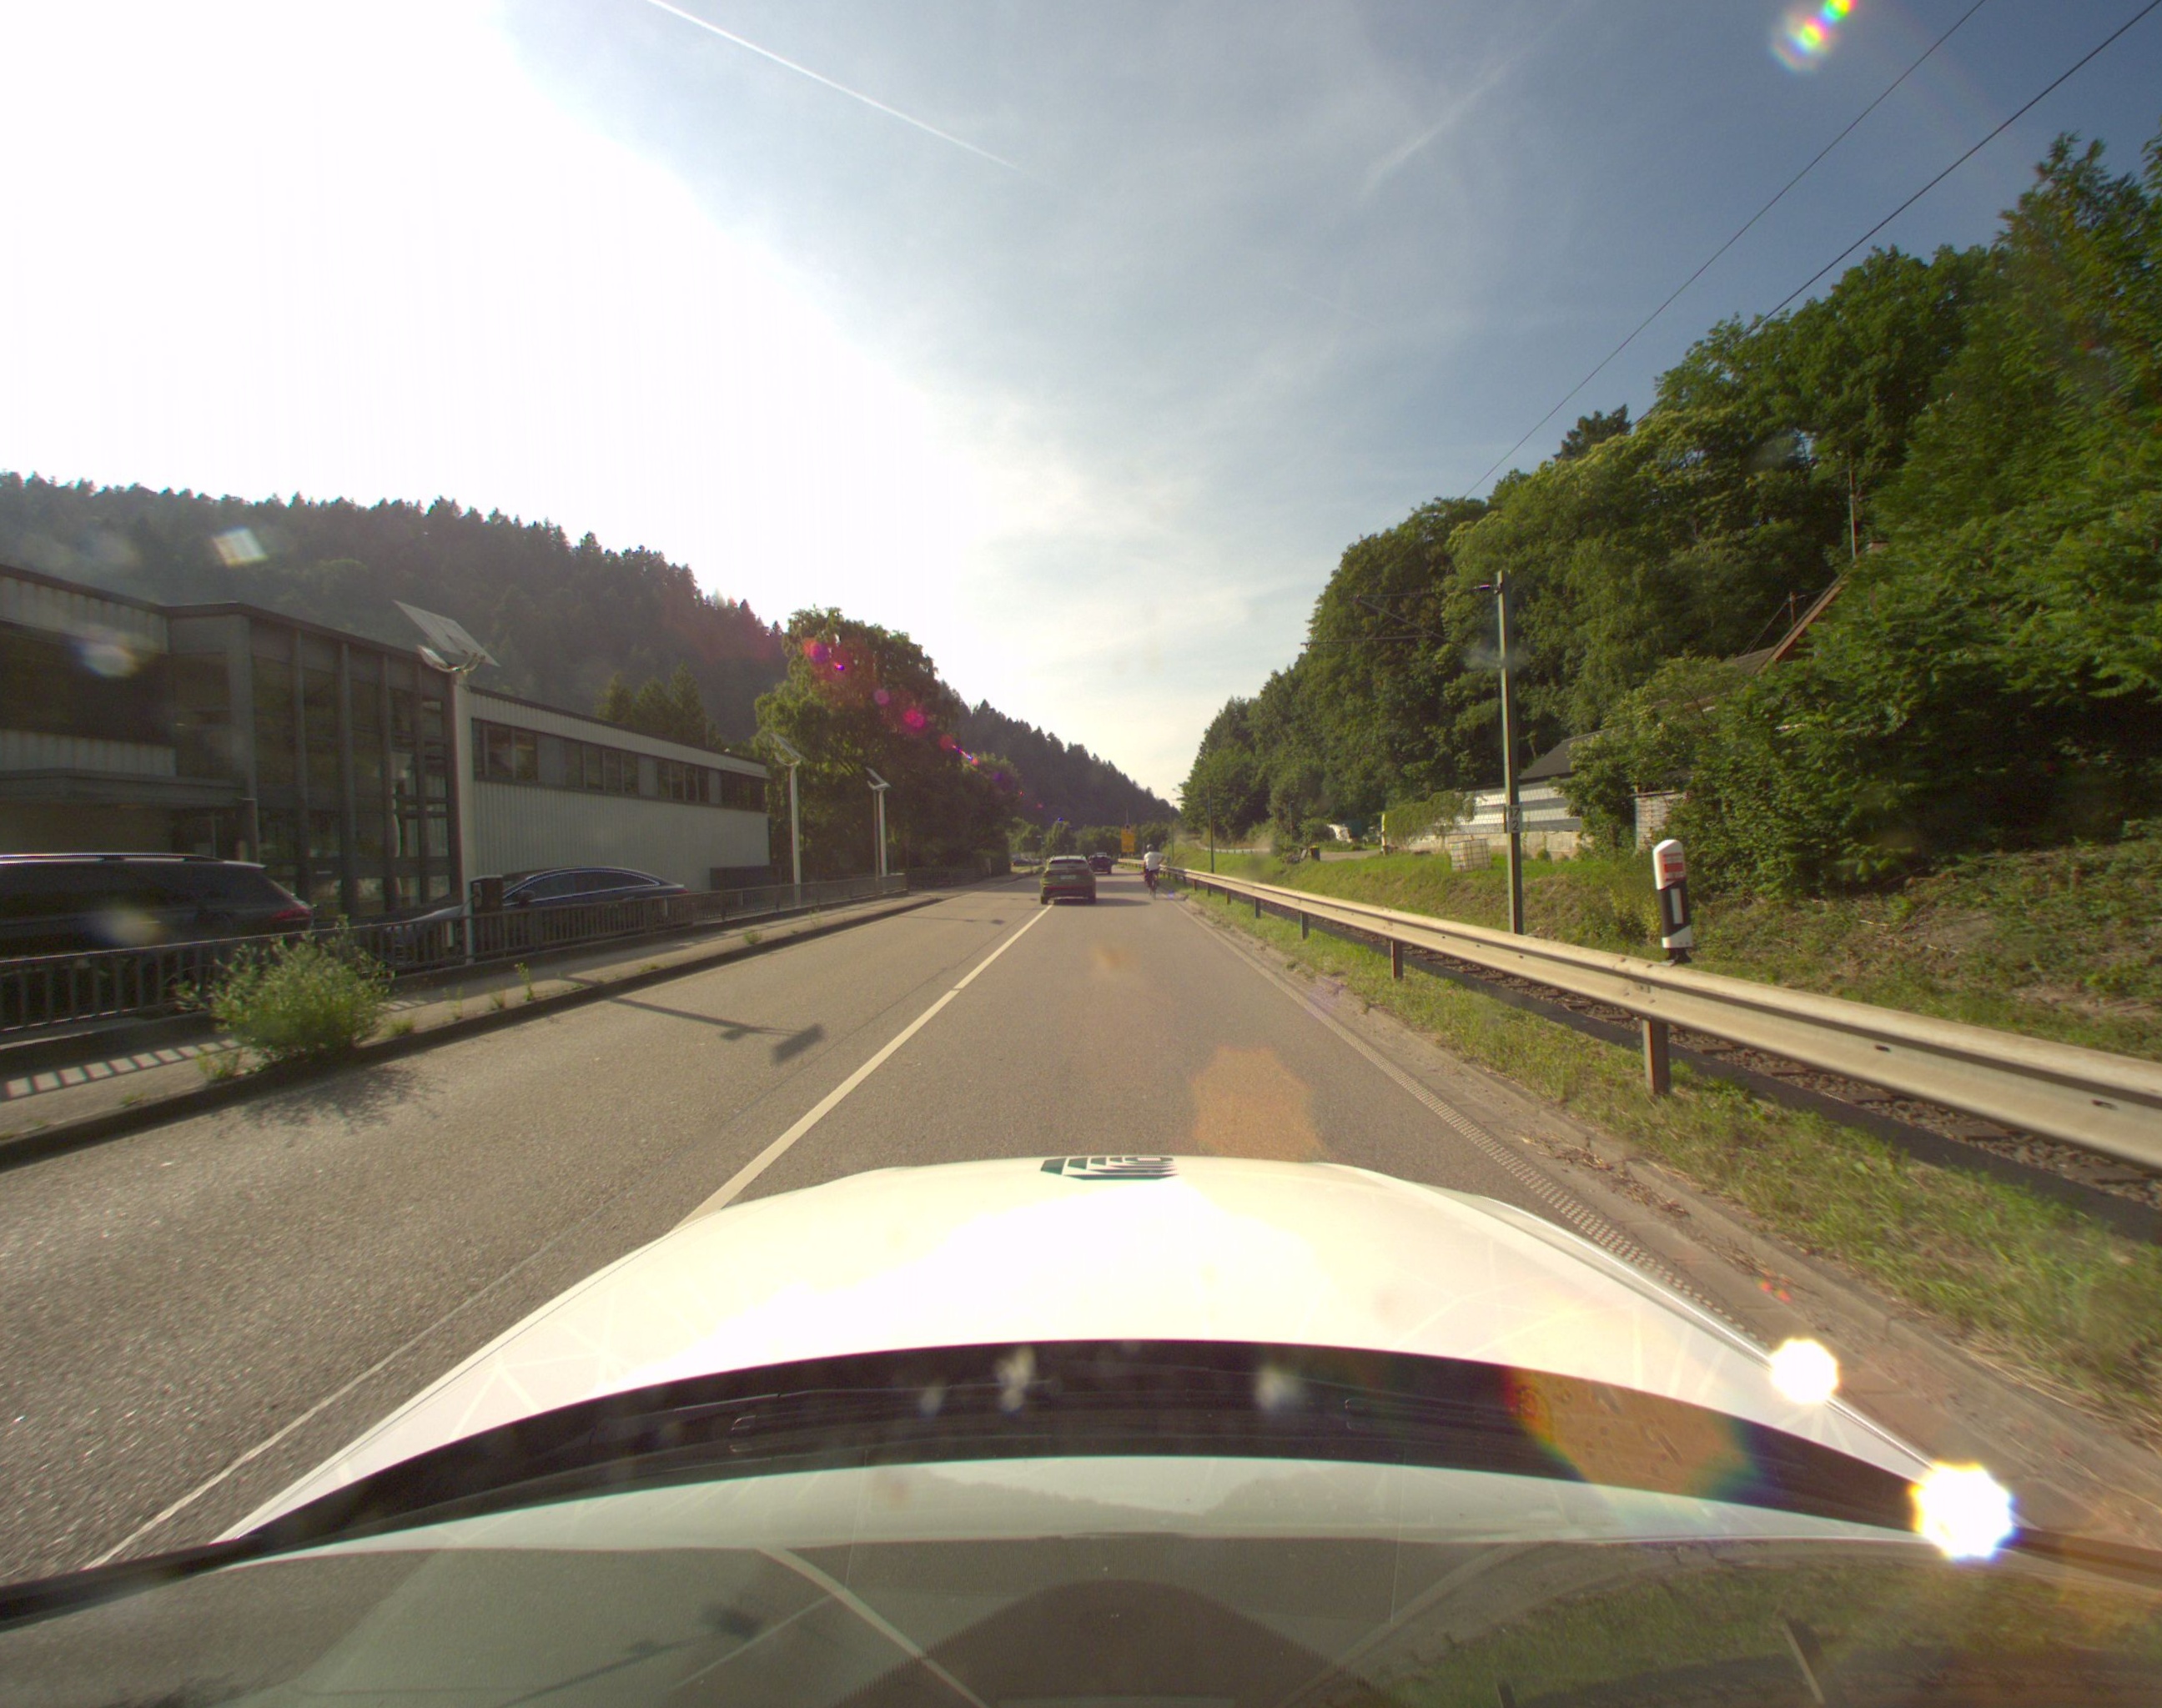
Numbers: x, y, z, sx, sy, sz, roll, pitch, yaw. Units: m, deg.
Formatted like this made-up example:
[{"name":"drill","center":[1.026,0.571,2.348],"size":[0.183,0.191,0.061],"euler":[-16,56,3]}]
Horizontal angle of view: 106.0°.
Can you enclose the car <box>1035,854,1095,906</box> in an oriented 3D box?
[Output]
[{"name":"car","center":[-0.445,0.780,26.236],"size":[1.733,1.508,4.001],"euler":[-2,0,1]}]

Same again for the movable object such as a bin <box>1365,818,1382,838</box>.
[{"name":"movable object such as a bin","center":[27.179,-2.415,75.704],"size":[0.863,1.802,1.798],"euler":[-2,0,0]}]

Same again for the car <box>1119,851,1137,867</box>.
[{"name":"car","center":[5.029,0.523,87.287],"size":[1.733,1.602,4.001],"euler":[-2,0,1]}]

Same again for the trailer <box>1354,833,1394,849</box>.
[{"name":"trailer","center":[24.825,-1.079,69.023],"size":[2.060,1.192,3.714],"euler":[-1,-1,0]}]

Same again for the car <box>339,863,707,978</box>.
[{"name":"car","center":[-9.286,0.990,14.113],"size":[1.975,1.562,4.882],"euler":[-2,-1,27]}]

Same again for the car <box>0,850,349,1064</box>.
[{"name":"car","center":[-10.107,0.950,7.419],"size":[1.974,1.741,4.721],"euler":[-2,1,35]}]

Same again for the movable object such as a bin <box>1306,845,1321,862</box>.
[{"name":"movable object such as a bin","center":[15.737,-0.023,55.157],"size":[0.850,1.107,0.936],"euler":[-2,0,7]}]

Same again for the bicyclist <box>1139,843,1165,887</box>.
[{"name":"bicyclist","center":[2.362,0.364,27.141],"size":[0.779,1.412,0.675],"euler":[-2,0,0]}]

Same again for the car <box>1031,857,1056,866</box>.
[{"name":"car","center":[-6.747,1.313,145.802],"size":[4.242,1.433,1.558],"euler":[-2,0,2]}]

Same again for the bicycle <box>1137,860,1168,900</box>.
[{"name":"bicycle","center":[2.372,0.858,27.297],"size":[0.809,1.250,2.122],"euler":[-2,0,0]}]

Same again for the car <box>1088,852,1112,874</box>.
[{"name":"car","center":[1.430,0.666,61.442],"size":[1.733,1.602,4.001],"euler":[-1,0,1]}]
